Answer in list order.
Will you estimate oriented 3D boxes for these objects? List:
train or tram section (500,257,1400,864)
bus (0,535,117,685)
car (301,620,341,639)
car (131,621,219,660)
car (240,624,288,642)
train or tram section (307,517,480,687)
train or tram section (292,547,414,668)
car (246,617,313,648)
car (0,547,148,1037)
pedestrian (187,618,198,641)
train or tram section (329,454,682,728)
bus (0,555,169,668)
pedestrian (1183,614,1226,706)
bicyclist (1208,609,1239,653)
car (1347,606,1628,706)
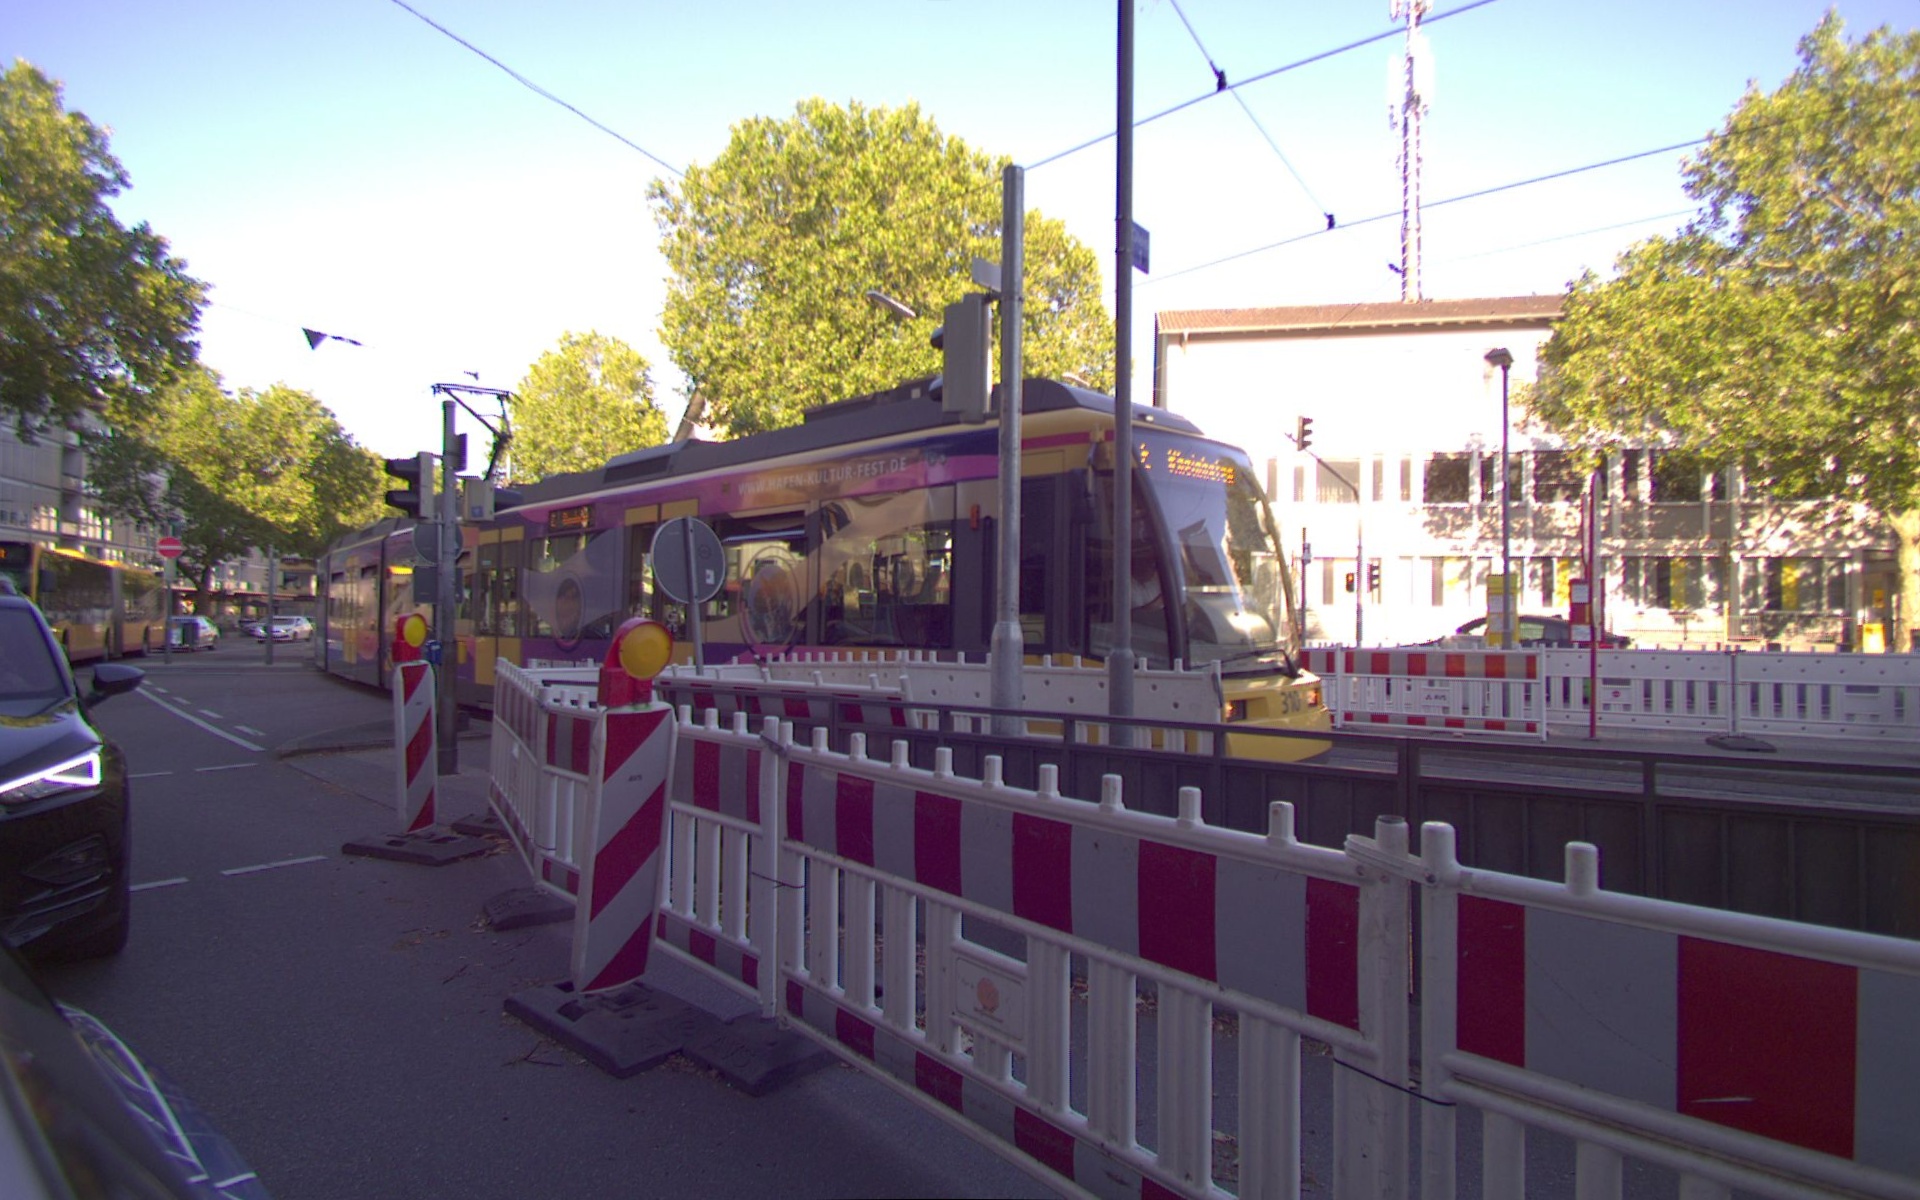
[{"bbox_3d":[-1.257,-0.159,10.470,10.341,3.514,2.785,-1,-1,44],"label":"train or tram section"},{"bbox_3d":[-23.058,0.277,24.663,2.709,3.127,9.523,1,-2,-33],"label":"bus"},{"bbox_3d":[-52.357,2.416,82.921,1.201,1.484,2.592,0,-1,43],"label":"car"},{"bbox_3d":[-32.436,1.633,41.947,1.880,1.486,4.433,1,-1,-24],"label":"car"},{"bbox_3d":[-50.896,2.405,74.029,1.198,1.226,2.599,0,-1,34],"label":"car"},{"bbox_3d":[-14.788,0.128,25.899,2.832,3.514,10.364,1,-1,-35],"label":"train or tram section"},{"bbox_3d":[-20.793,0.297,34.313,2.797,3.514,10.364,1,-1,-35],"label":"train or tram section"},{"bbox_3d":[-37.703,1.770,56.203,1.923,1.562,4.771,1,-1,-19],"label":"car"},{"bbox_3d":[-5.166,0.686,4.597,4.300,1.670,1.823,-1,-1,45],"label":"car"},{"bbox_3d":[-57.030,2.205,75.193,0.508,1.669,0.572,1,-1,-22],"label":"pedestrian"},{"bbox_3d":[-8.502,-0.036,17.788,2.800,3.514,10.353,1,-1,-41],"label":"train or tram section"},{"bbox_3d":[-28.093,0.422,32.734,2.708,3.127,9.525,1,-2,-31],"label":"bus"},{"bbox_3d":[4.845,1.176,20.080,0.588,1.772,0.597,1,-2,-43],"label":"pedestrian"},{"bbox_3d":[7.968,0.933,30.609,0.808,1.307,0.457,-1,-2,40],"label":"bicyclist"},{"bbox_3d":[10.023,0.984,19.367,4.576,1.679,1.878,-1,0,35],"label":"car"}]
